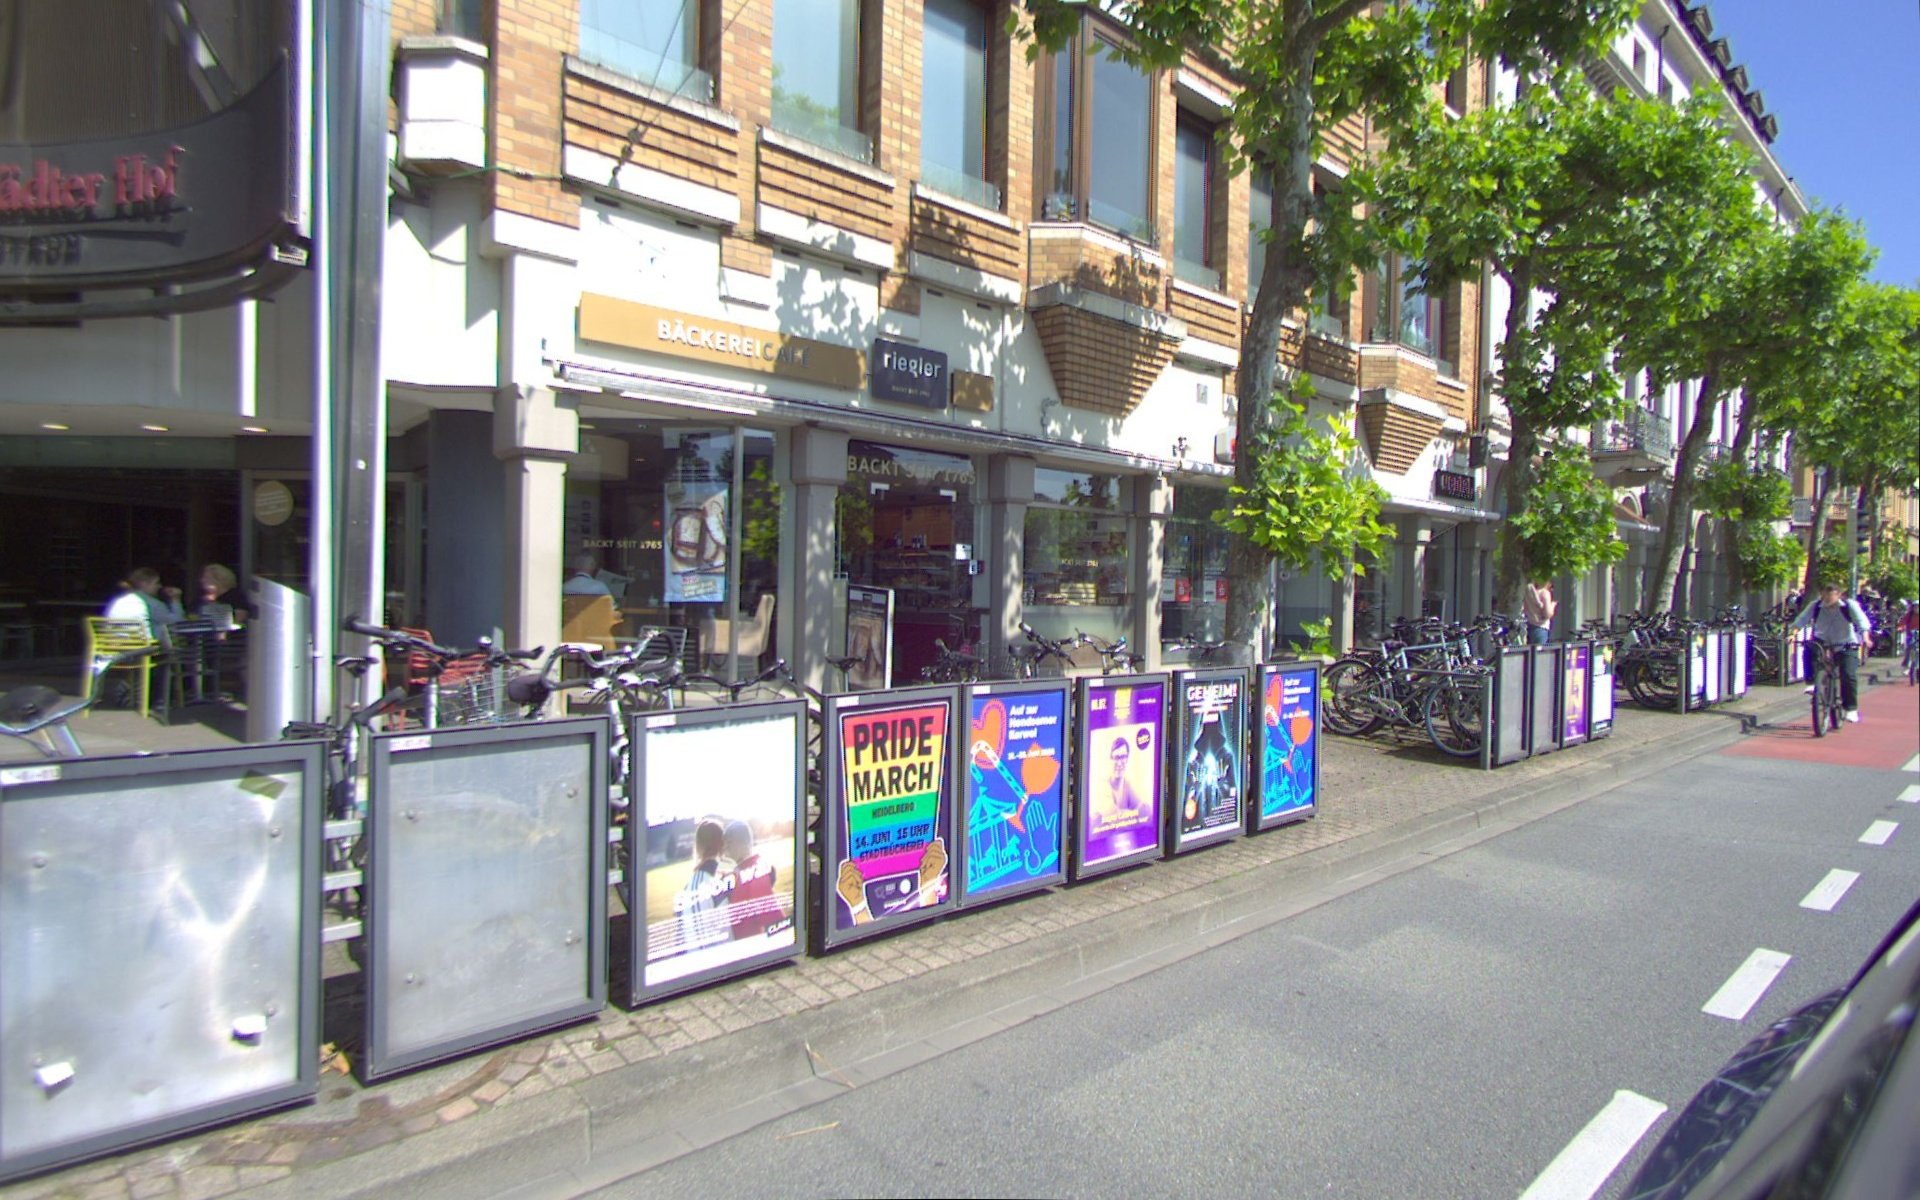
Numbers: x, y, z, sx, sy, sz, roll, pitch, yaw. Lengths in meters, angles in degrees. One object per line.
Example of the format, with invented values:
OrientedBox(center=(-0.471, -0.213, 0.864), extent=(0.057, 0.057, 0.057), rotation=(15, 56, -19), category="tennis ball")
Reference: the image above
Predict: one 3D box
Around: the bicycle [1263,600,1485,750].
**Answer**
OrientedBox(center=(3.565, 0.594, 8.843), extent=(0.474, 1.161, 1.755), rotation=(0, 0, -42), category="bicycle")

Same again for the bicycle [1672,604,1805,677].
OrientedBox(center=(13.304, 0.662, 17.334), extent=(0.474, 1.161, 1.755), rotation=(0, 0, -42), category="bicycle")

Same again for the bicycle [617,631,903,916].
OrientedBox(center=(-1.005, 0.699, 4.741), extent=(0.474, 1.031, 1.755), rotation=(0, 0, -42), category="bicycle")

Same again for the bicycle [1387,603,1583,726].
OrientedBox(center=(5.430, 0.624, 10.557), extent=(0.474, 1.161, 1.755), rotation=(0, 0, -42), category="bicycle")

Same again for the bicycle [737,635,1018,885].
OrientedBox(center=(-0.488, 0.715, 5.156), extent=(0.474, 0.997, 1.719), rotation=(0, 0, -42), category="bicycle")

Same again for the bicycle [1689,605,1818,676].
OrientedBox(center=(14.154, 0.695, 18.093), extent=(0.474, 1.161, 1.755), rotation=(0, 0, -42), category="bicycle")

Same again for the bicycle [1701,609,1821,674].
OrientedBox(center=(15.346, 0.771, 19.429), extent=(0.474, 1.161, 1.755), rotation=(0, 0, -42), category="bicycle")

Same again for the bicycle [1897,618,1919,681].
OrientedBox(center=(17.739, 0.887, 18.520), extent=(1.788, 1.107, 0.735), rotation=(1, -1, -43), category="bicycle")

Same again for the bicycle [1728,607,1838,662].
OrientedBox(center=(17.415, 0.714, 21.439), extent=(0.474, 1.082, 1.755), rotation=(0, 0, -42), category="bicycle")

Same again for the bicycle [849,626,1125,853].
OrientedBox(center=(0.087, 0.695, 5.711), extent=(0.474, 1.031, 1.755), rotation=(0, 0, -42), category="bicycle")

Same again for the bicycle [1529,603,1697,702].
OrientedBox(center=(8.370, 0.641, 13.035), extent=(0.474, 1.161, 1.755), rotation=(0, 0, -42), category="bicycle")

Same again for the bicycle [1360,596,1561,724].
OrientedBox(center=(4.987, 0.556, 10.176), extent=(0.474, 1.161, 1.755), rotation=(0, 0, -42), category="bicycle")

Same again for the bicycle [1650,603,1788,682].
OrientedBox(center=(12.439, 0.660, 16.632), extent=(0.474, 1.202, 1.755), rotation=(0, 0, -42), category="bicycle")

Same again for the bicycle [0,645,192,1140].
OrientedBox(center=(-2.740, 0.718, 3.085), extent=(0.474, 1.030, 1.755), rotation=(0, 1, -42), category="bicycle")

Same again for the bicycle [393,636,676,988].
OrientedBox(center=(-1.757, 0.700, 4.020), extent=(0.474, 1.031, 1.755), rotation=(0, 0, -42), category="bicycle")

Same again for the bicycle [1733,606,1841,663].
OrientedBox(center=(17.851, 0.726, 21.871), extent=(0.474, 1.161, 1.755), rotation=(0, 0, -42), category="bicycle")

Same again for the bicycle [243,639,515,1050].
OrientedBox(center=(-2.157, 0.716, 3.640), extent=(0.474, 1.030, 1.755), rotation=(0, 1, -42), category="bicycle")

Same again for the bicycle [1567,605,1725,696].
OrientedBox(center=(9.525, 0.666, 14.106), extent=(0.474, 1.161, 1.755), rotation=(0, 0, -42), category="bicycle")

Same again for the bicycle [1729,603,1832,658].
OrientedBox(center=(18.429, 0.666, 22.752), extent=(0.474, 1.161, 1.755), rotation=(0, 0, -42), category="bicycle")

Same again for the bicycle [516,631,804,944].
OrientedBox(center=(-1.369, 0.686, 4.386), extent=(0.474, 1.031, 1.755), rotation=(0, 0, -42), category="bicycle")

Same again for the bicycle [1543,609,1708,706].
OrientedBox(center=(8.760, 0.722, 13.383), extent=(0.474, 1.161, 1.755), rotation=(0, 0, -42), category="bicycle")

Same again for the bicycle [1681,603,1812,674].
OrientedBox(center=(13.754, 0.642, 17.729), extent=(0.518, 1.161, 1.755), rotation=(0, 0, -42), category="bicycle")

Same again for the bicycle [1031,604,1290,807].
OrientedBox(center=(1.272, 0.621, 6.743), extent=(0.474, 1.161, 1.755), rotation=(0, 0, -42), category="bicycle")

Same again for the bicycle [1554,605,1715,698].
OrientedBox(center=(9.124, 0.662, 13.741), extent=(0.474, 1.161, 1.755), rotation=(0, 0, -42), category="bicycle")

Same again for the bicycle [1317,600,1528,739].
OrientedBox(center=(4.288, 0.597, 9.497), extent=(0.474, 1.161, 1.755), rotation=(0, 0, -42), category="bicycle")

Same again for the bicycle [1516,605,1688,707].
OrientedBox(center=(8.009, 0.656, 12.686), extent=(0.474, 1.161, 1.755), rotation=(0, 0, -42), category="bicycle")

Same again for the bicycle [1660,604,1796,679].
OrientedBox(center=(12.858, 0.667, 16.981), extent=(0.474, 1.161, 1.755), rotation=(0, 0, -42), category="bicycle")

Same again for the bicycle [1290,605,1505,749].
OrientedBox(center=(3.918, 0.642, 9.185), extent=(0.474, 1.161, 1.755), rotation=(0, 0, -42), category="bicycle")

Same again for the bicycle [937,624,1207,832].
OrientedBox(center=(0.615, 0.694, 6.153), extent=(0.474, 1.031, 1.755), rotation=(0, 0, -42), category="bicycle")

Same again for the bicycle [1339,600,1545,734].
OrientedBox(center=(4.628, 0.597, 9.827), extent=(0.474, 1.161, 1.755), rotation=(0, 0, -42), category="bicycle")

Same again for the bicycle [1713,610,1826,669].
OrientedBox(center=(16.570, 0.781, 20.750), extent=(0.474, 1.119, 1.755), rotation=(0, 0, -42), category="bicycle")

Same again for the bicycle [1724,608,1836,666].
OrientedBox(center=(17.018, 0.746, 21.039), extent=(0.474, 1.101, 1.755), rotation=(0, 0, -42), category="bicycle")

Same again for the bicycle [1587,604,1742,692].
OrientedBox(center=(10.045, 0.647, 14.480), extent=(0.491, 1.161, 1.755), rotation=(0, 0, -42), category="bicycle")
